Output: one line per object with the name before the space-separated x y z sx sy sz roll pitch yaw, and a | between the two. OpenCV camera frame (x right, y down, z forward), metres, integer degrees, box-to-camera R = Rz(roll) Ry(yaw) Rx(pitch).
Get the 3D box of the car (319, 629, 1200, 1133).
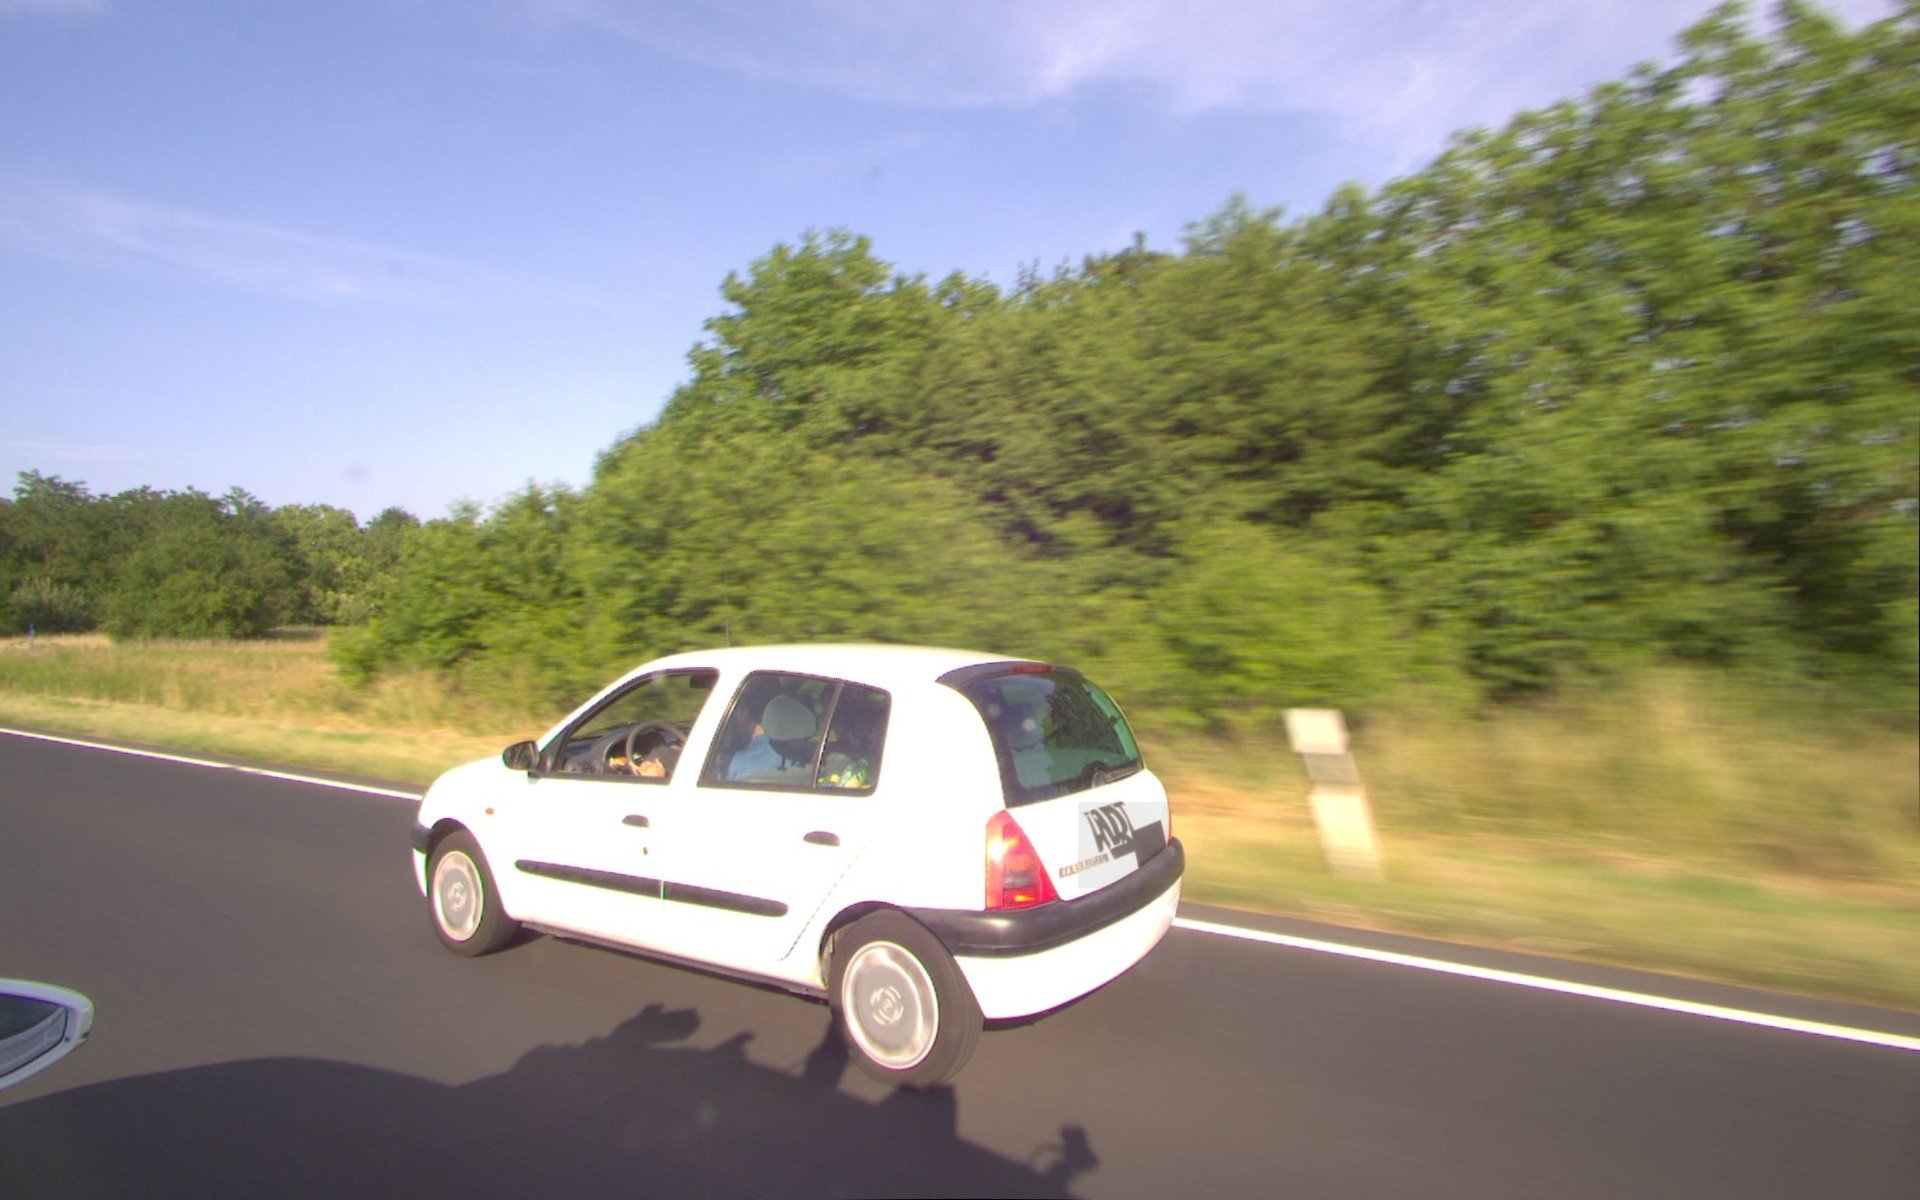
car | -1.067 0.857 4.556 3.895 1.405 1.614 -1 -1 32
